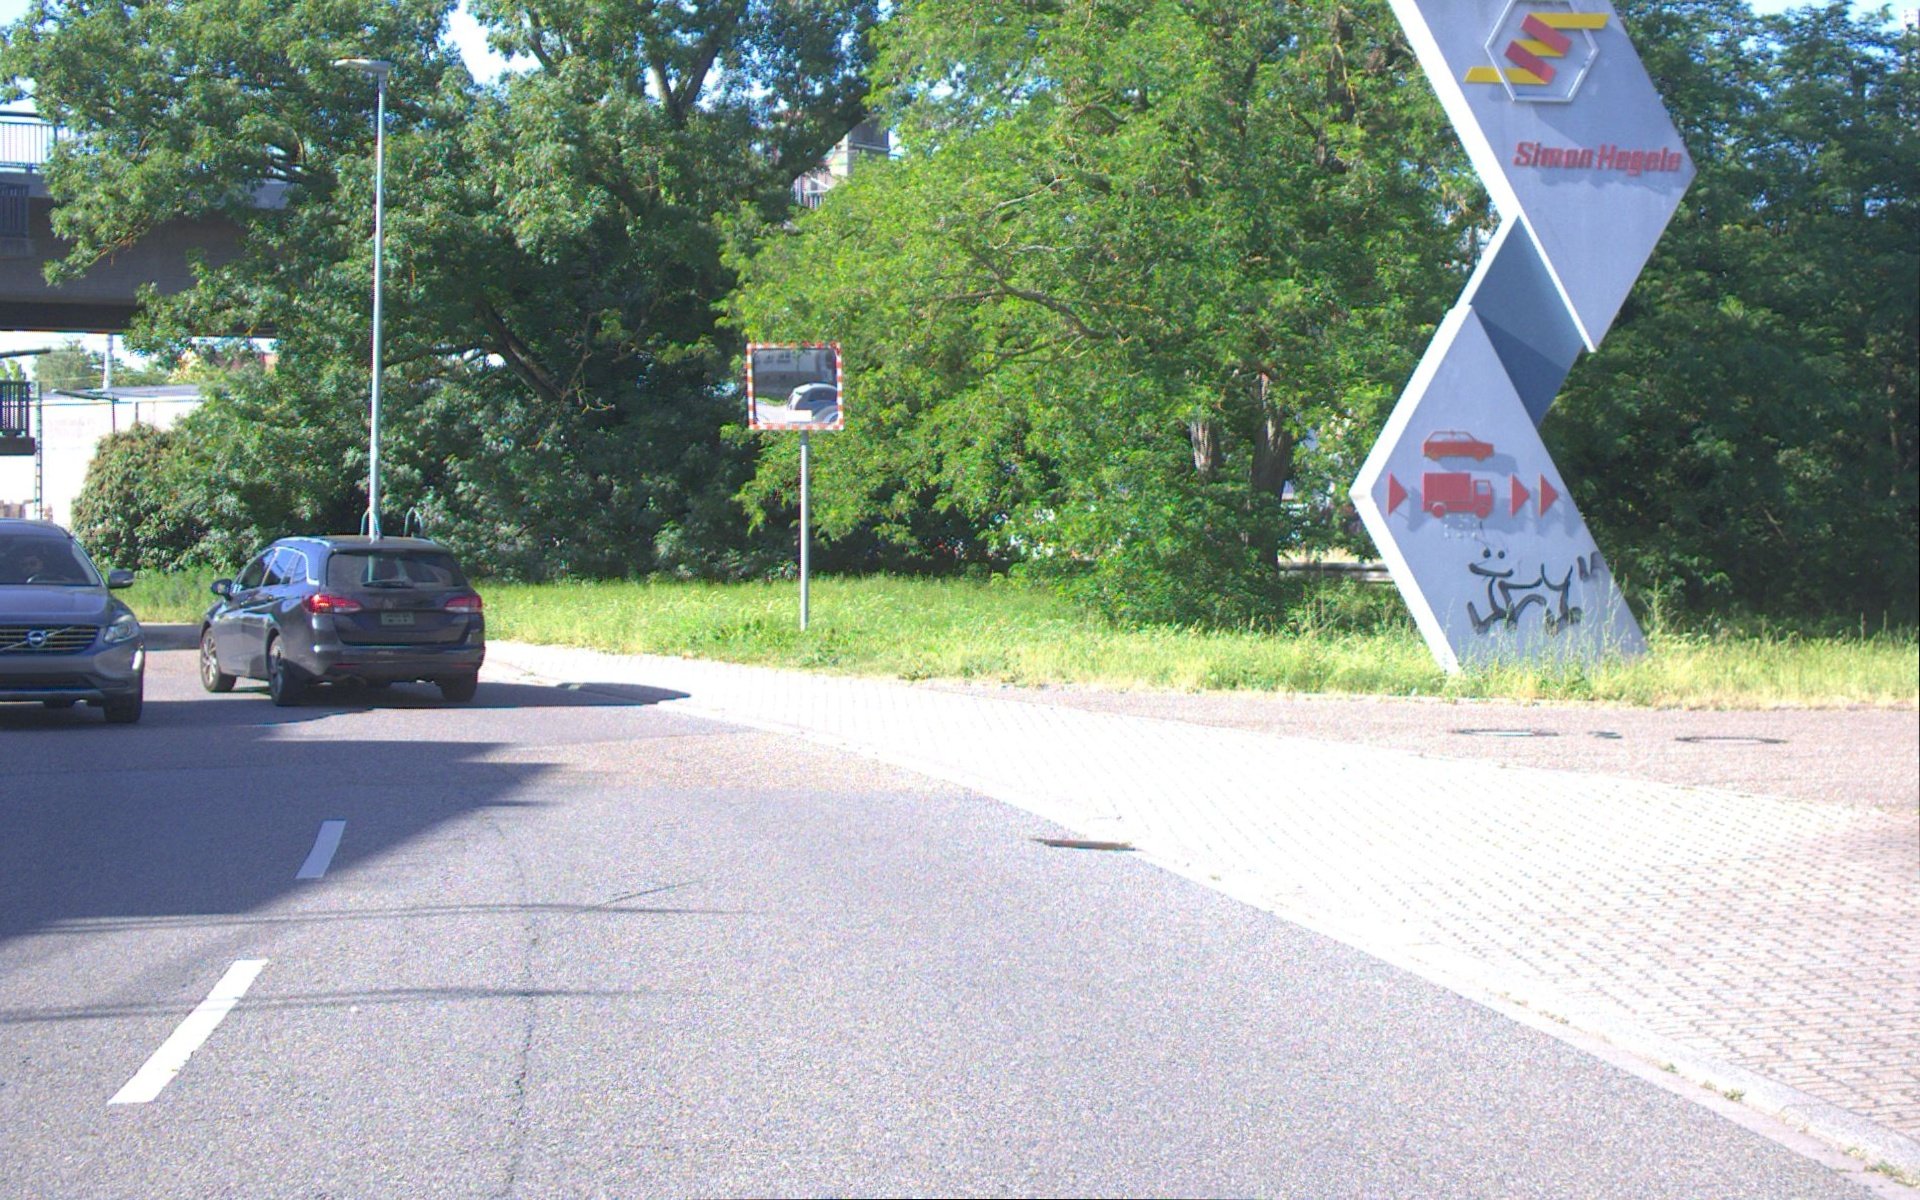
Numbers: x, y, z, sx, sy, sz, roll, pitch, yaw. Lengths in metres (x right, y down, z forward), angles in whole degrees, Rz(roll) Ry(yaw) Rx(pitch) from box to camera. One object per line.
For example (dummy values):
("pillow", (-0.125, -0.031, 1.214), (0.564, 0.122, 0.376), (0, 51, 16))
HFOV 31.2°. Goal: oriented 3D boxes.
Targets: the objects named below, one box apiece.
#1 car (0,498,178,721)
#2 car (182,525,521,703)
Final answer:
("car", (-7.907, 0.020, 28.248), (1.993, 1.690, 4.566), (-1, 1, -25))
("car", (-5.618, 0.061, 31.276), (1.942, 1.483, 4.566), (-1, 1, -25))
